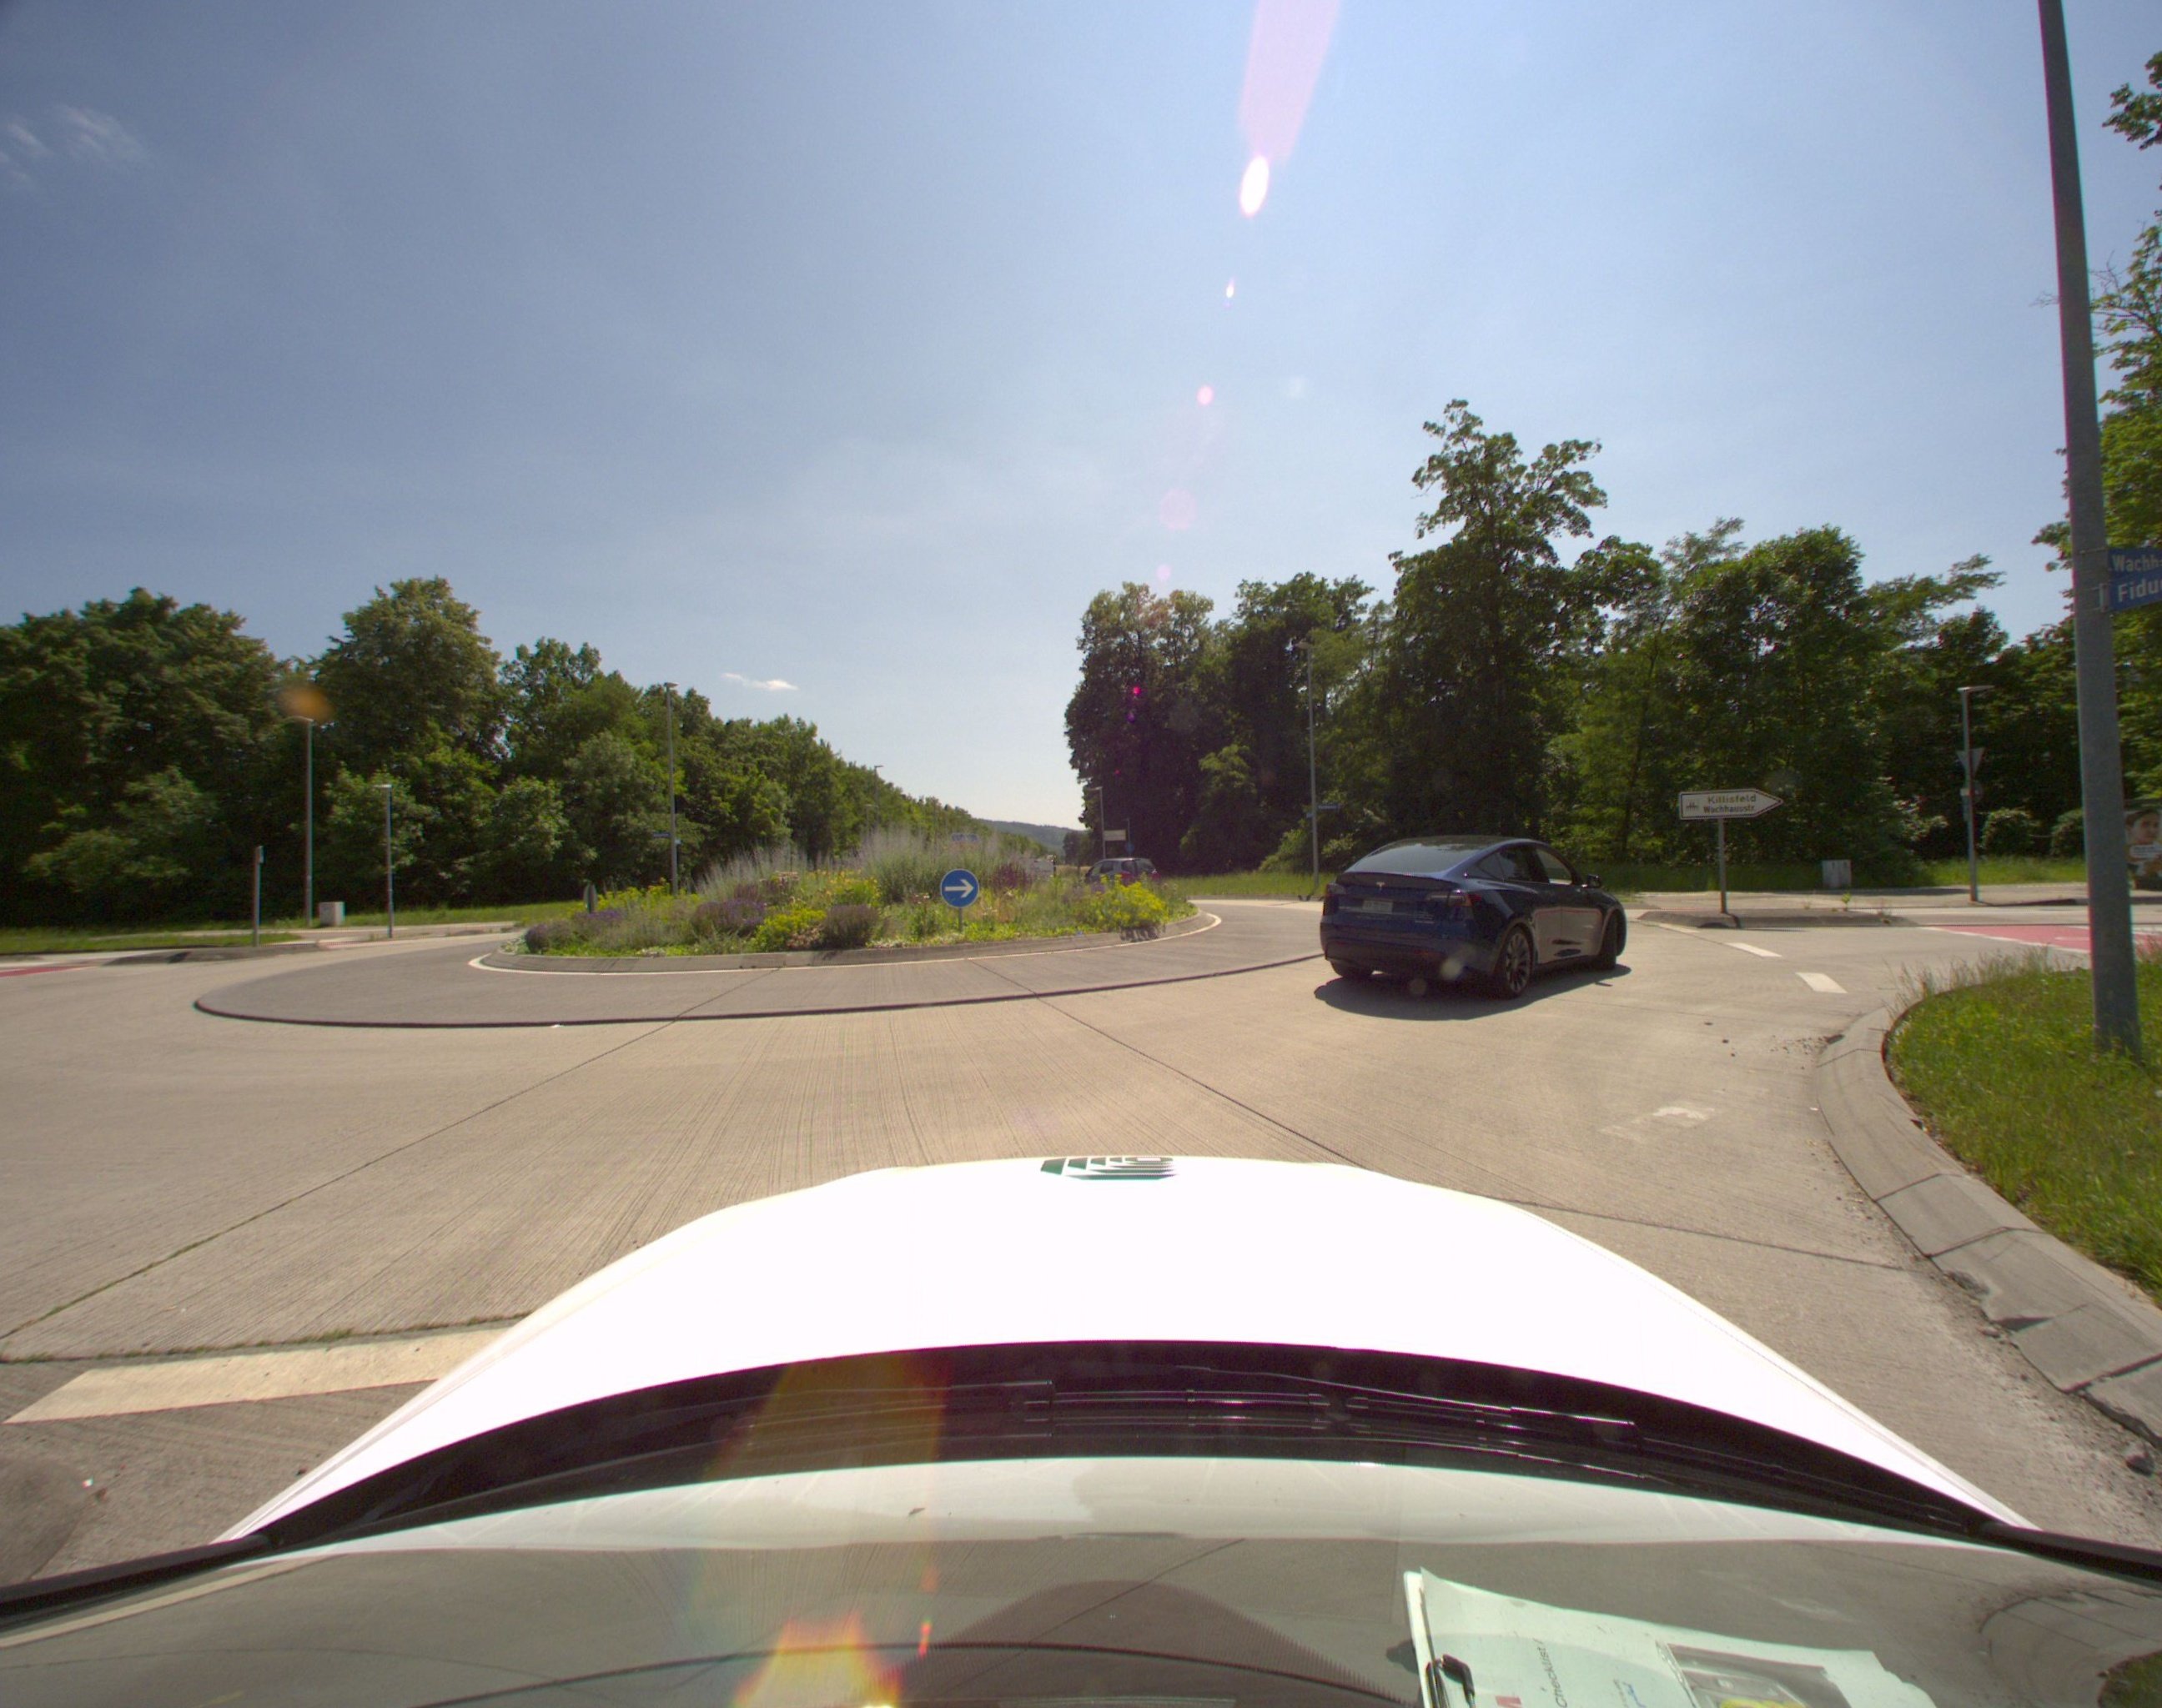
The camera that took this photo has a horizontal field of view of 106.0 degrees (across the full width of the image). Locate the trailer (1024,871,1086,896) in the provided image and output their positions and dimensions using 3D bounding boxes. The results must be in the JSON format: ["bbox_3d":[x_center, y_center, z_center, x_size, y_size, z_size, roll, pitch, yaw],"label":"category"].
[{"bbox_3d":[-1.316,1.429,39.986,2.128,1.097,3.332,-1,-1,-19],"label":"trailer"}]

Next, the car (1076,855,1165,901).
[{"bbox_3d":[1.393,0.883,30.569,1.791,1.607,4.097,0,-1,-22],"label":"car"}]

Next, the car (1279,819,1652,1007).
[{"bbox_3d":[4.596,0.505,9.383,4.781,1.640,1.977,-1,-1,-39],"label":"car"}]

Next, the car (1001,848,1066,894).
[{"bbox_3d":[-2.650,0.921,43.865,2.173,2.316,4.948,-1,-1,-20],"label":"car"}]
